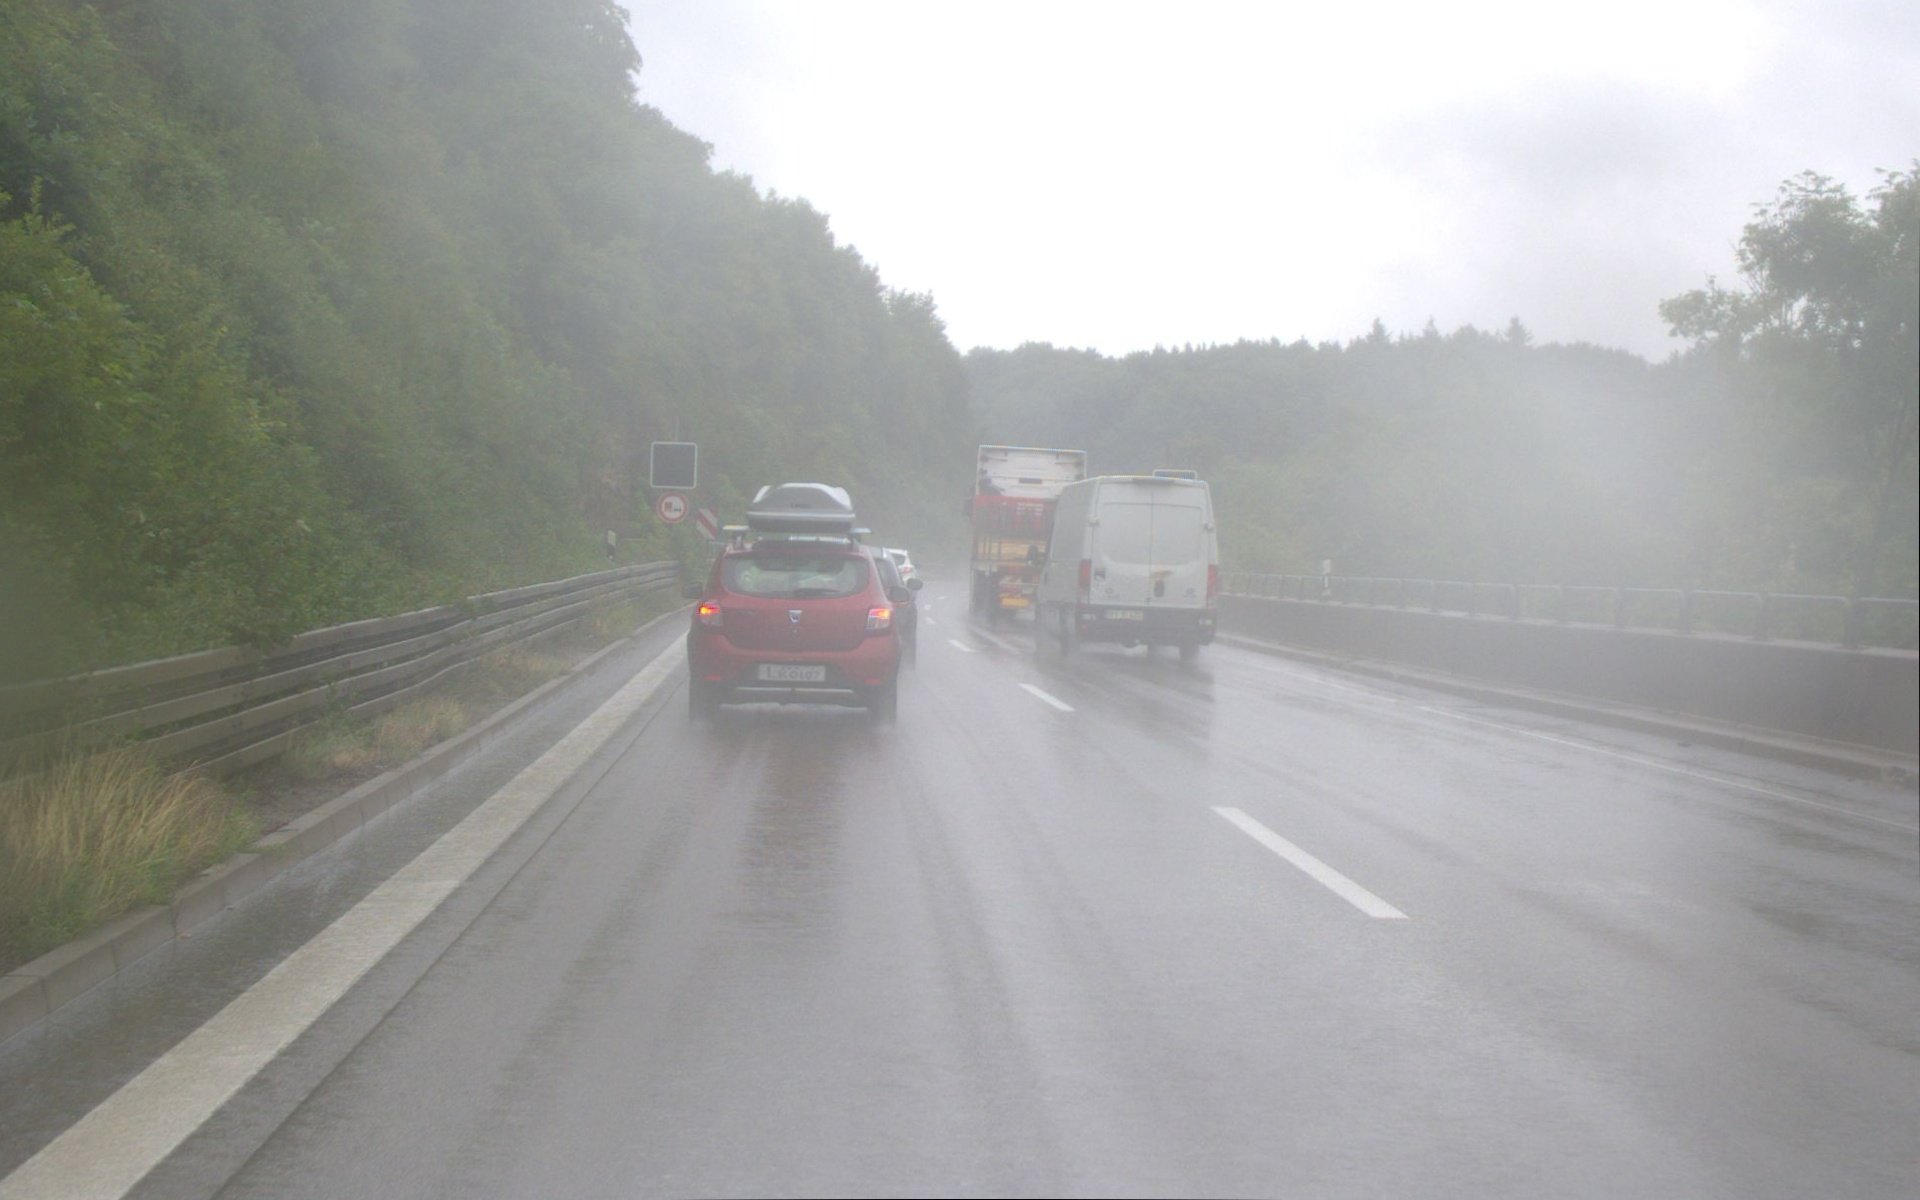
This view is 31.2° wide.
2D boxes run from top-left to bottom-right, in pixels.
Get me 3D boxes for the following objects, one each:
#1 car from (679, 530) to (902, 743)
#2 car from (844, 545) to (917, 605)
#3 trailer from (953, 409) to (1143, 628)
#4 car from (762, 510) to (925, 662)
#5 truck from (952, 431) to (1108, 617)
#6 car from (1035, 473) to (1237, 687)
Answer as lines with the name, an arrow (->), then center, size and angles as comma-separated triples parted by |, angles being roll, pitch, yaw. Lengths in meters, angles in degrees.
car -> -1.411, 0.278, 29.187 | 1.758, 1.679, 4.000 | 0, 0, -2
car -> -2.208, -0.702, 96.586 | 1.993, 1.634, 4.000 | 0, 0, -1
trailer -> 1.632, -1.593, 71.063 | 3.218, 3.985, 13.524 | 2, 1, -1
car -> -1.375, -0.166, 40.419 | 1.832, 1.709, 3.645 | 0, 0, -2
truck -> 1.520, -1.700, 78.115 | 3.219, 3.964, 5.439 | 2, 0, -1
car -> 2.478, -0.320, 50.523 | 2.206, 2.784, 7.383 | 3, 1, -2
